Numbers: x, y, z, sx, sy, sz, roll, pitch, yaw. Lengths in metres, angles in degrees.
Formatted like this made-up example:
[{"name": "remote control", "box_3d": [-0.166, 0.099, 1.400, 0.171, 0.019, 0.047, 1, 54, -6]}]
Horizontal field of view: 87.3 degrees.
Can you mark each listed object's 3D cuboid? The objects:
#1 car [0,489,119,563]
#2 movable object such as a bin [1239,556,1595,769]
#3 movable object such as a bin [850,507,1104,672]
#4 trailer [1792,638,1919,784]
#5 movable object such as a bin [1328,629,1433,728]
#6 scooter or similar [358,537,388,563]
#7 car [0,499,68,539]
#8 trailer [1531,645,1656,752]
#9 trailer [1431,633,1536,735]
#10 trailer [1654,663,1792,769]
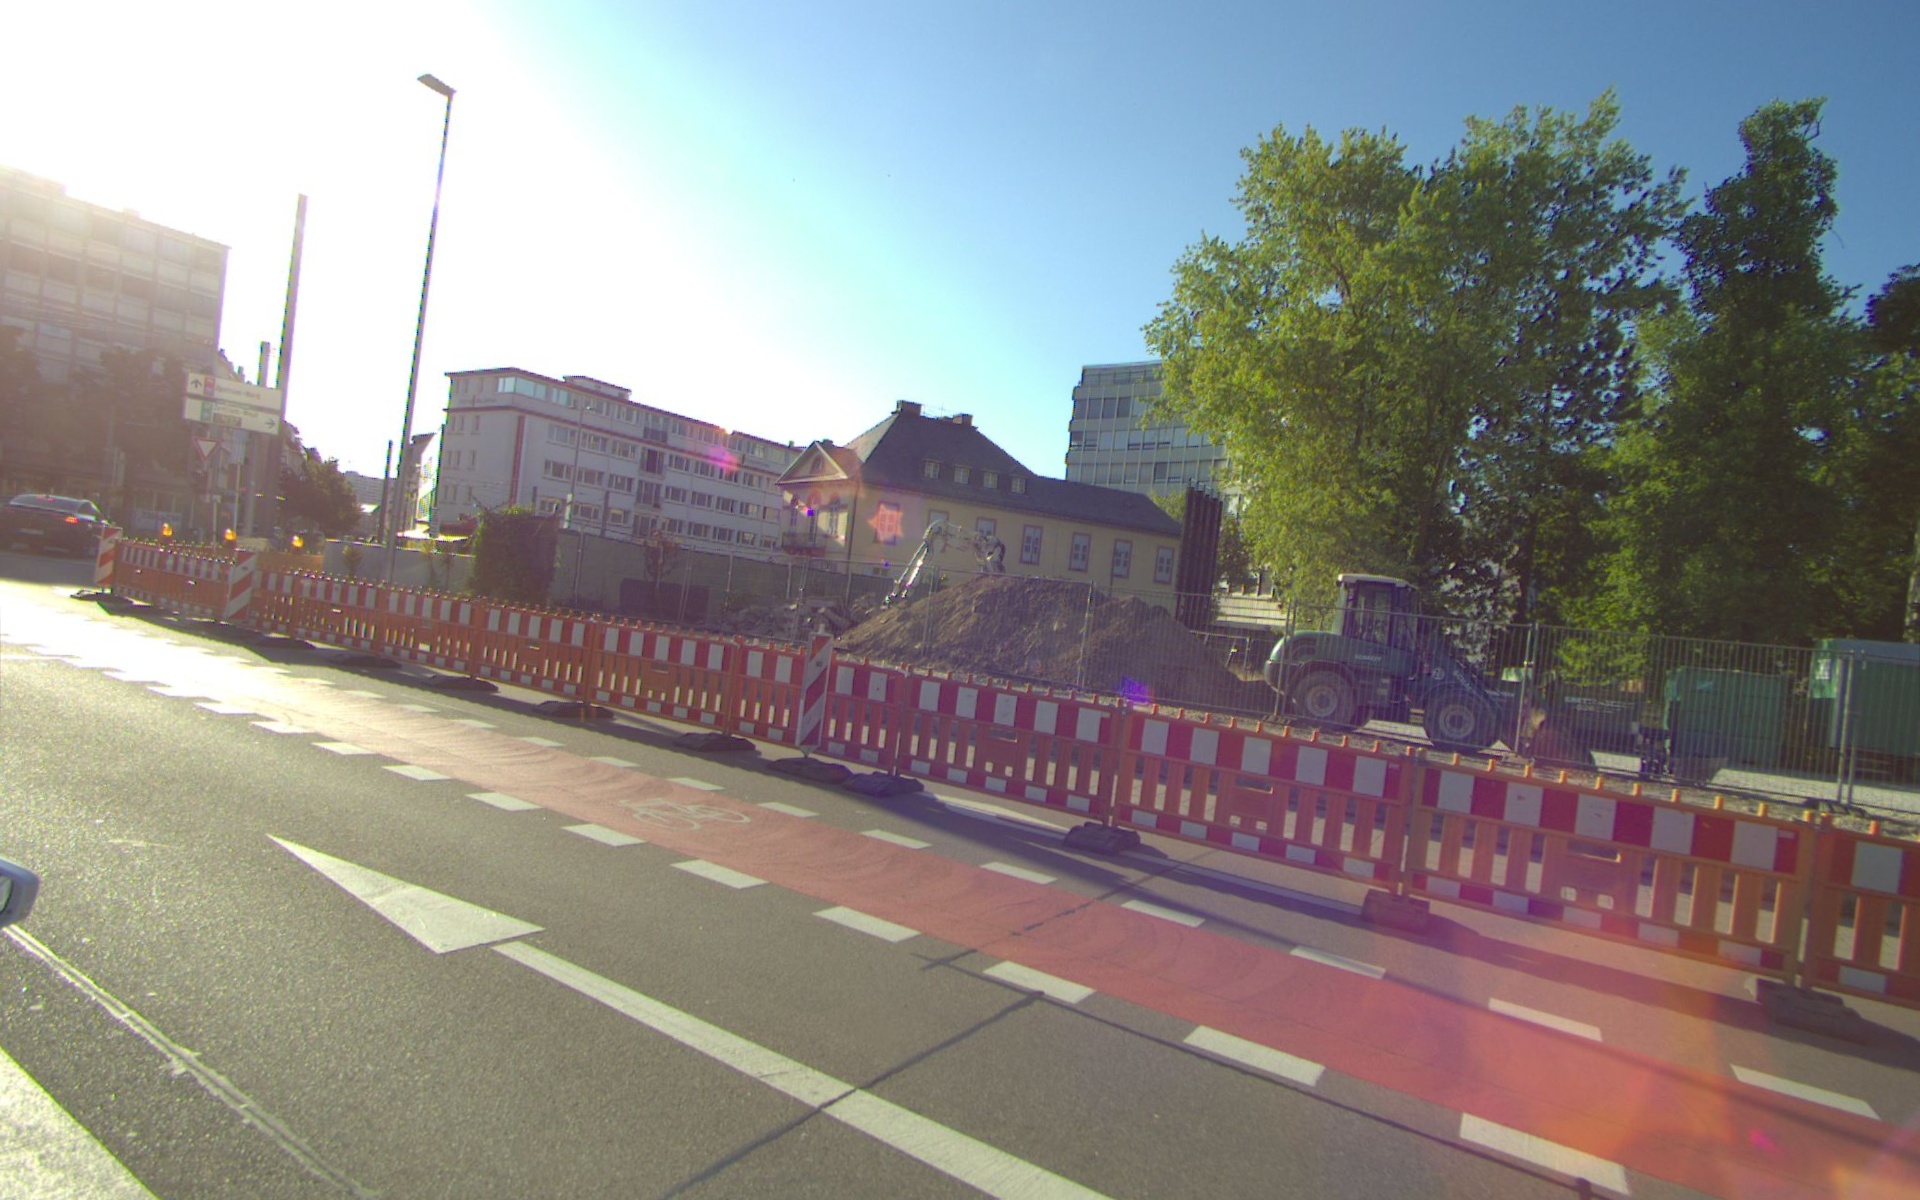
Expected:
[{"name": "car", "box_3d": [-26.506, -2.147, 29.579, 1.981, 1.713, 3.967, 9, -1, -31]}, {"name": "movable object such as a bin", "box_3d": [7.537, 0.938, 16.810, 4.859, 2.737, 2.279, 7, 0, 31]}, {"name": "movable object such as a bin", "box_3d": [0.511, -0.203, 27.204, 6.023, 3.601, 2.836, 7, 0, -34]}, {"name": "trailer", "box_3d": [21.844, 2.513, 22.921, 3.919, 3.127, 2.614, 1, -2, 28]}, {"name": "movable object such as a bin", "box_3d": [11.494, 2.078, 27.271, 2.187, 2.350, 5.040, 1, -3, 27]}, {"name": "scooter or similar", "box_3d": [-25.989, -2.200, 44.549, 0.485, 1.046, 1.386, 7, 0, -4]}, {"name": "car", "box_3d": [-47.895, -4.200, 50.386, 1.967, 1.615, 4.336, 7, 0, 32]}, {"name": "trailer", "box_3d": [15.902, 2.400, 25.508, 2.187, 2.350, 5.040, 1, -3, 27]}, {"name": "trailer", "box_3d": [13.630, 2.133, 26.299, 2.187, 2.350, 5.040, 1, -3, 27]}, {"name": "trailer", "box_3d": [18.727, 2.780, 24.859, 2.187, 2.350, 2.952, 1, -2, 27]}]
